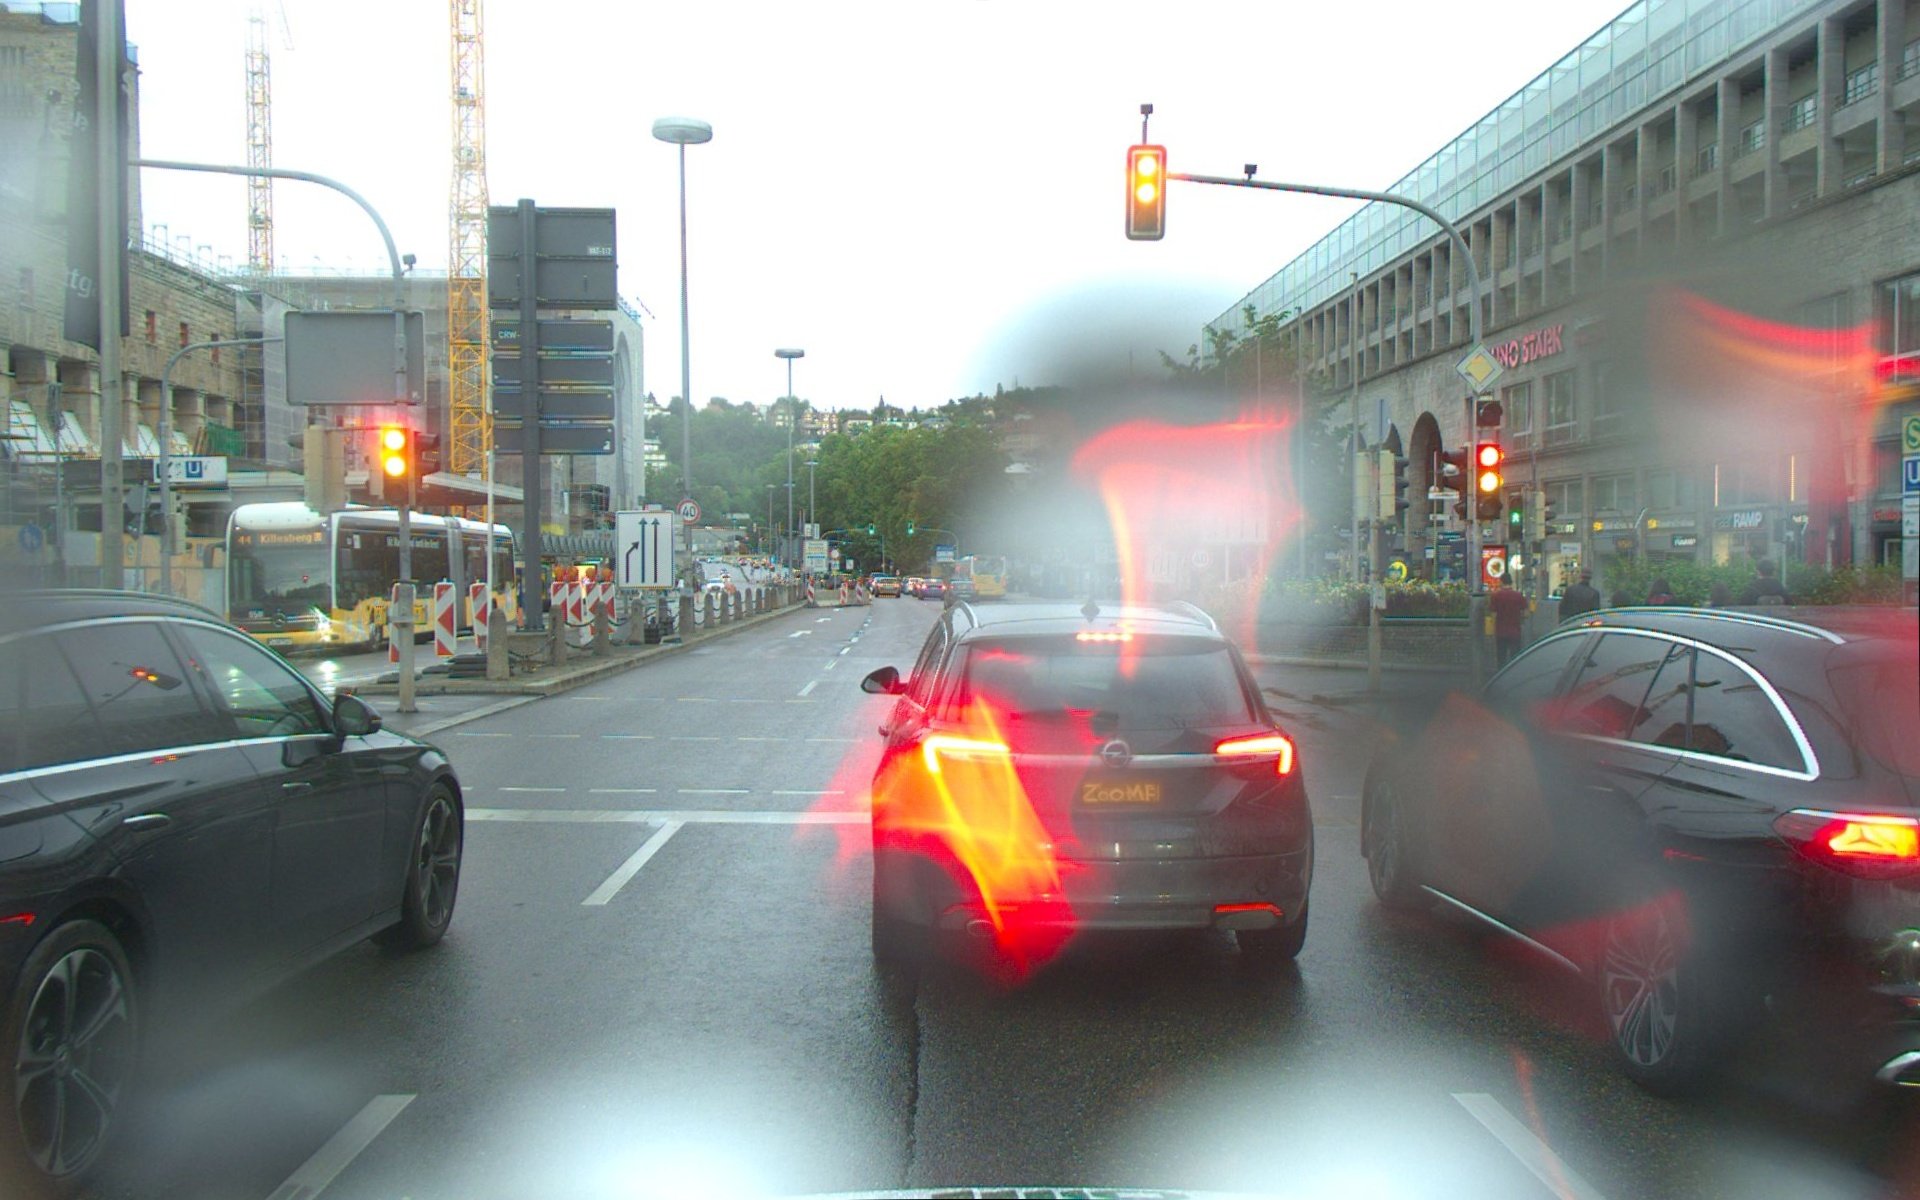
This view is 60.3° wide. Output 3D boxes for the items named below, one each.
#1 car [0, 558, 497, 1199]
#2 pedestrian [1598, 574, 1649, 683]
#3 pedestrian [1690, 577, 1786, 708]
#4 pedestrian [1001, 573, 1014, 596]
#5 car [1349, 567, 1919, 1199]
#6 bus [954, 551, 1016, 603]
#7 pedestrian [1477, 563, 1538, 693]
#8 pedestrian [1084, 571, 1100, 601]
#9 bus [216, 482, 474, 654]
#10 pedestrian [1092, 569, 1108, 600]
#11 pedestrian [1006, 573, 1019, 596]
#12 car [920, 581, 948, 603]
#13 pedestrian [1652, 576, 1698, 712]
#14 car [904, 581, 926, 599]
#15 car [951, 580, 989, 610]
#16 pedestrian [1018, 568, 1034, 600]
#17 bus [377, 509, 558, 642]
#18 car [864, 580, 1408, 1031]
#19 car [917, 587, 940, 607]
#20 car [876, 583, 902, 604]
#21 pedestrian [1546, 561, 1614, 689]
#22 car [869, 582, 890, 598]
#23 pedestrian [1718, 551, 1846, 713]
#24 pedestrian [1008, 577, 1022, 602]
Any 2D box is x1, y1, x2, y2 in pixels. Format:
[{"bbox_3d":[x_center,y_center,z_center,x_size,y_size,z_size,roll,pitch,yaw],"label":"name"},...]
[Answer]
[{"bbox_3d":[-2.966,0.643,5.109,1.817,1.495,4.586,1,0,-1],"label":"car"},{"bbox_3d":[8.980,0.380,22.404,0.617,1.452,0.490,1,0,21],"label":"pedestrian"},{"bbox_3d":[10.147,0.546,21.595,0.778,1.654,0.899,1,0,-4],"label":"pedestrian"},{"bbox_3d":[4.453,-1.470,156.104,1.174,2.186,1.228,1,0,0],"label":"pedestrian"},{"bbox_3d":[2.978,0.704,6.240,1.757,1.528,4.626,1,0,-2],"label":"car"},{"bbox_3d":[1.688,-1.565,120.924,4.089,3.529,14.651,1,0,-1],"label":"bus"},{"bbox_3d":[7.634,0.385,23.058,0.560,1.783,0.676,1,-1,42],"label":"pedestrian"},{"bbox_3d":[7.615,-0.824,95.383,0.748,1.720,0.824,1,0,-5],"label":"pedestrian"},{"bbox_3d":[-14.767,-0.681,40.807,2.614,3.665,10.237,1,0,-1],"label":"bus"},{"bbox_3d":[8.002,-0.872,94.309,0.748,1.720,0.824,1,0,-5],"label":"pedestrian"},{"bbox_3d":[5.059,-1.456,158.764,1.174,2.186,1.228,1,0,0],"label":"pedestrian"},{"bbox_3d":[-1.814,-0.513,113.116,1.718,1.422,4.645,1,0,-3],"label":"car"},{"bbox_3d":[9.558,0.575,22.096,0.472,1.782,0.665,-2,0,27],"label":"pedestrian"},{"bbox_3d":[-3.842,-0.854,142.096,1.808,1.422,3.563,1,0,-1],"label":"car"},{"bbox_3d":[0.474,-0.231,82.051,1.808,1.422,3.666,1,0,-1],"label":"car"},{"bbox_3d":[5.257,-1.266,131.858,1.174,2.478,1.228,1,0,0],"label":"pedestrian"},{"bbox_3d":[-14.952,-0.672,51.162,2.614,3.665,10.209,1,0,-1],"label":"bus"},{"bbox_3d":[0.562,0.706,7.642,1.837,1.512,3.999,1,0,-1],"label":"car"},{"bbox_3d":[-2.452,-0.225,127.768,1.718,1.422,4.400,1,0,-2],"label":"car"},{"bbox_3d":[-5.196,-0.466,121.061,1.808,1.422,3.563,1,0,-1],"label":"car"},{"bbox_3d":[8.662,0.348,23.128,0.740,1.747,0.466,1,0,-5],"label":"pedestrian"},{"bbox_3d":[-7.316,-0.901,149.932,1.723,1.422,3.563,1,0,-1],"label":"car"},{"bbox_3d":[9.355,0.358,18.850,1.074,1.782,0.653,-2,0,-4],"label":"pedestrian"},{"bbox_3d":[4.812,-0.893,145.617,1.174,2.186,1.228,1,0,0],"label":"pedestrian"}]
